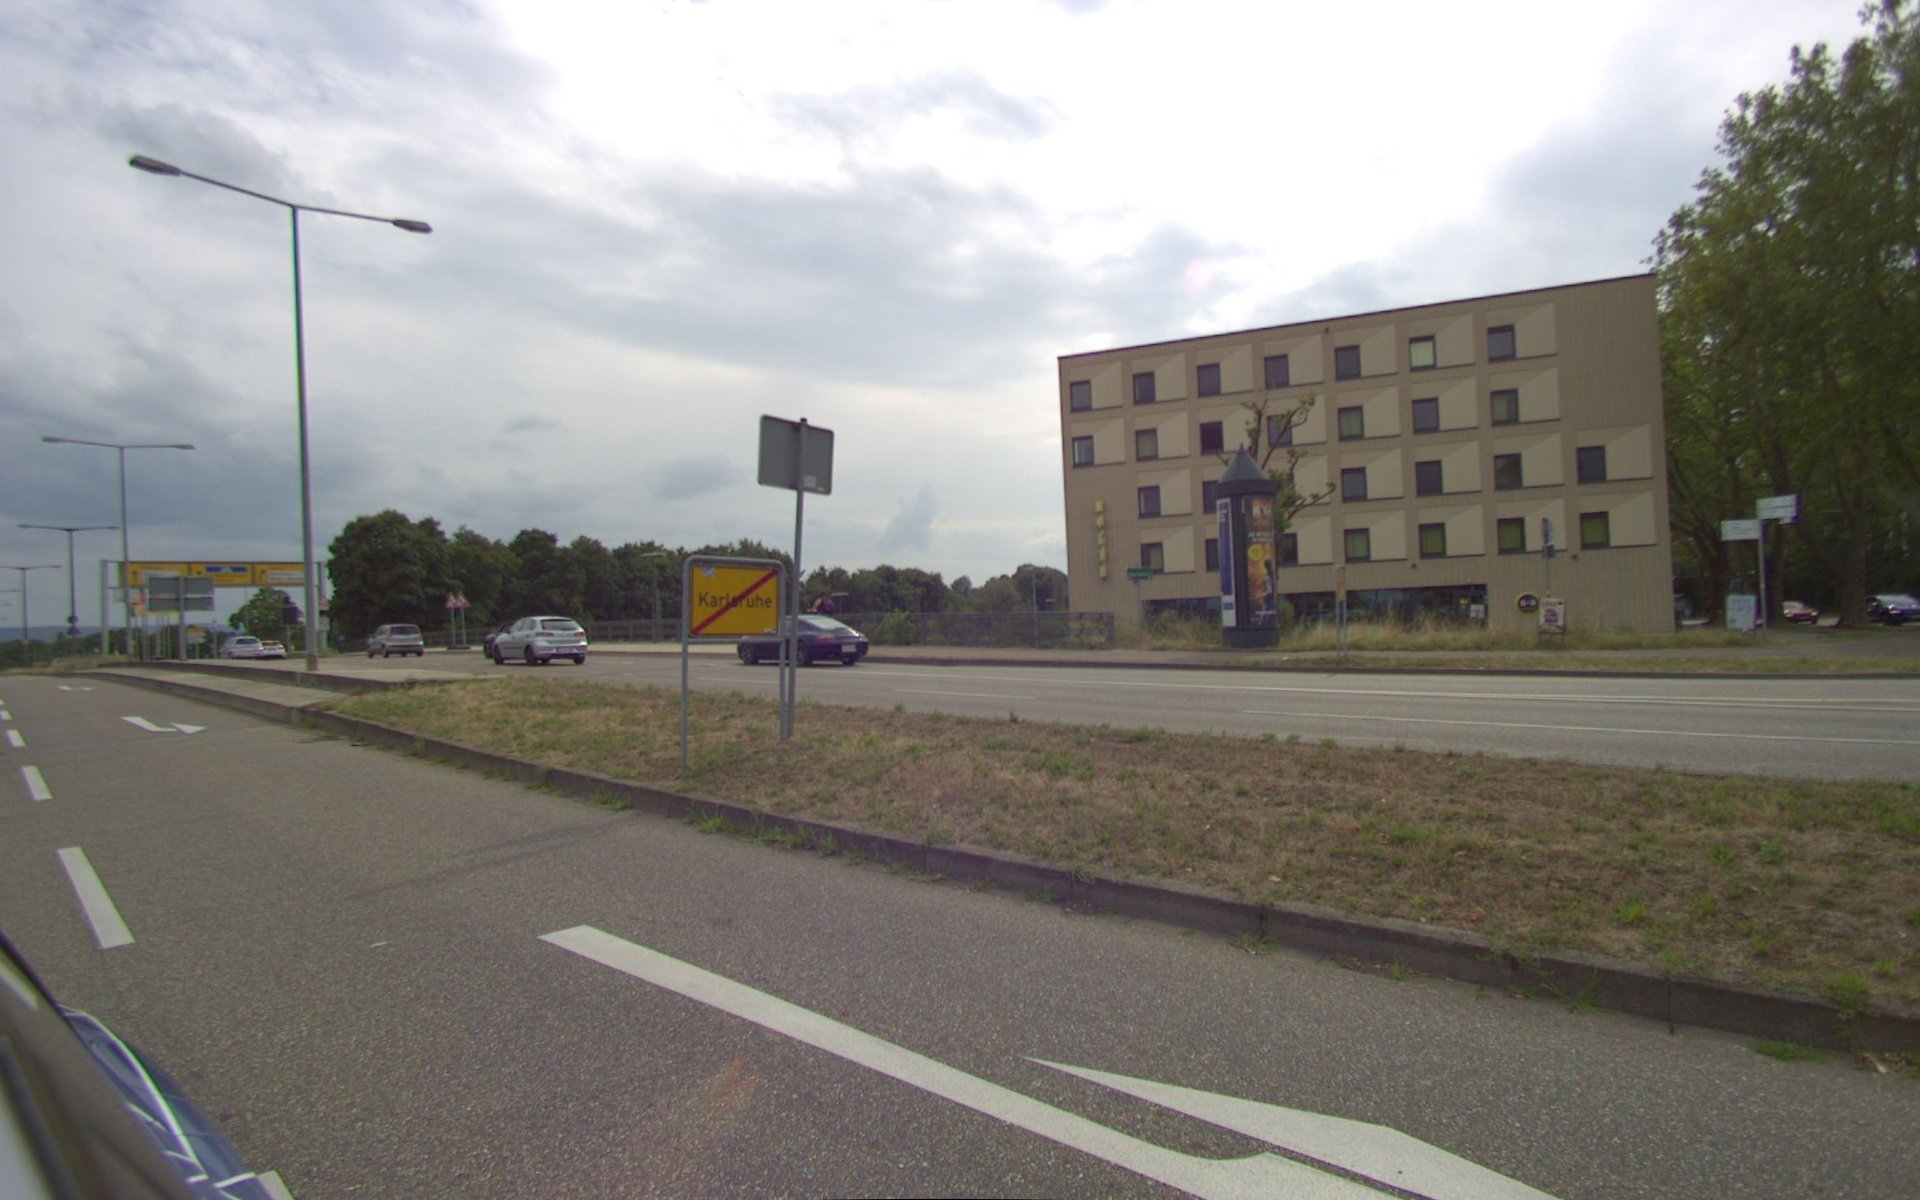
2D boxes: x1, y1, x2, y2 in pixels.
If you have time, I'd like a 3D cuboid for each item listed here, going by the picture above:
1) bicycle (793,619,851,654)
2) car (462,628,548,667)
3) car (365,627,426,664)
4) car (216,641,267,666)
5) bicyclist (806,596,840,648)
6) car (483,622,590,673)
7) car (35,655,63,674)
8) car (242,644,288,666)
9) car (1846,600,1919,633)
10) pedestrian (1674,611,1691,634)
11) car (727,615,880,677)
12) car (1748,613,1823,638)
[{"bbox_3d":[-4.493,1.194,32.980,1.992,1.061,0.677,-3,-1,40],"label":"bicycle"},{"bbox_3d":[-17.716,1.832,39.372,3.877,1.421,1.723,-2,-2,43],"label":"car"},{"bbox_3d":[-26.865,2.144,48.115,1.720,1.671,4.084,1,-2,-41],"label":"car"},{"bbox_3d":[-44.282,3.281,62.335,4.029,1.426,1.789,-2,-2,43],"label":"car"},{"bbox_3d":[-4.466,0.716,32.962,0.846,1.684,0.677,-3,-1,39],"label":"bicyclist"},{"bbox_3d":[-12.743,1.403,30.379,3.861,1.421,1.598,-2,-2,44],"label":"car"},{"bbox_3d":[-89.647,6.339,99.574,1.865,1.652,4.587,-1,-2,-44],"label":"car"},{"bbox_3d":[-49.905,3.953,72.629,1.897,1.426,4.884,1,-3,-45],"label":"car"},{"bbox_3d":[46.635,0.813,50.425,1.932,1.572,4.442,-1,-1,15],"label":"car"},{"bbox_3d":[36.416,1.120,51.017,0.494,1.133,0.464,-1,-1,-12],"label":"pedestrian"},{"bbox_3d":[-4.197,1.170,26.675,1.800,1.457,4.356,-1,-1,-44],"label":"car"},{"bbox_3d":[50.528,1.543,62.022,1.931,1.391,4.194,-1,-1,15],"label":"car"}]
